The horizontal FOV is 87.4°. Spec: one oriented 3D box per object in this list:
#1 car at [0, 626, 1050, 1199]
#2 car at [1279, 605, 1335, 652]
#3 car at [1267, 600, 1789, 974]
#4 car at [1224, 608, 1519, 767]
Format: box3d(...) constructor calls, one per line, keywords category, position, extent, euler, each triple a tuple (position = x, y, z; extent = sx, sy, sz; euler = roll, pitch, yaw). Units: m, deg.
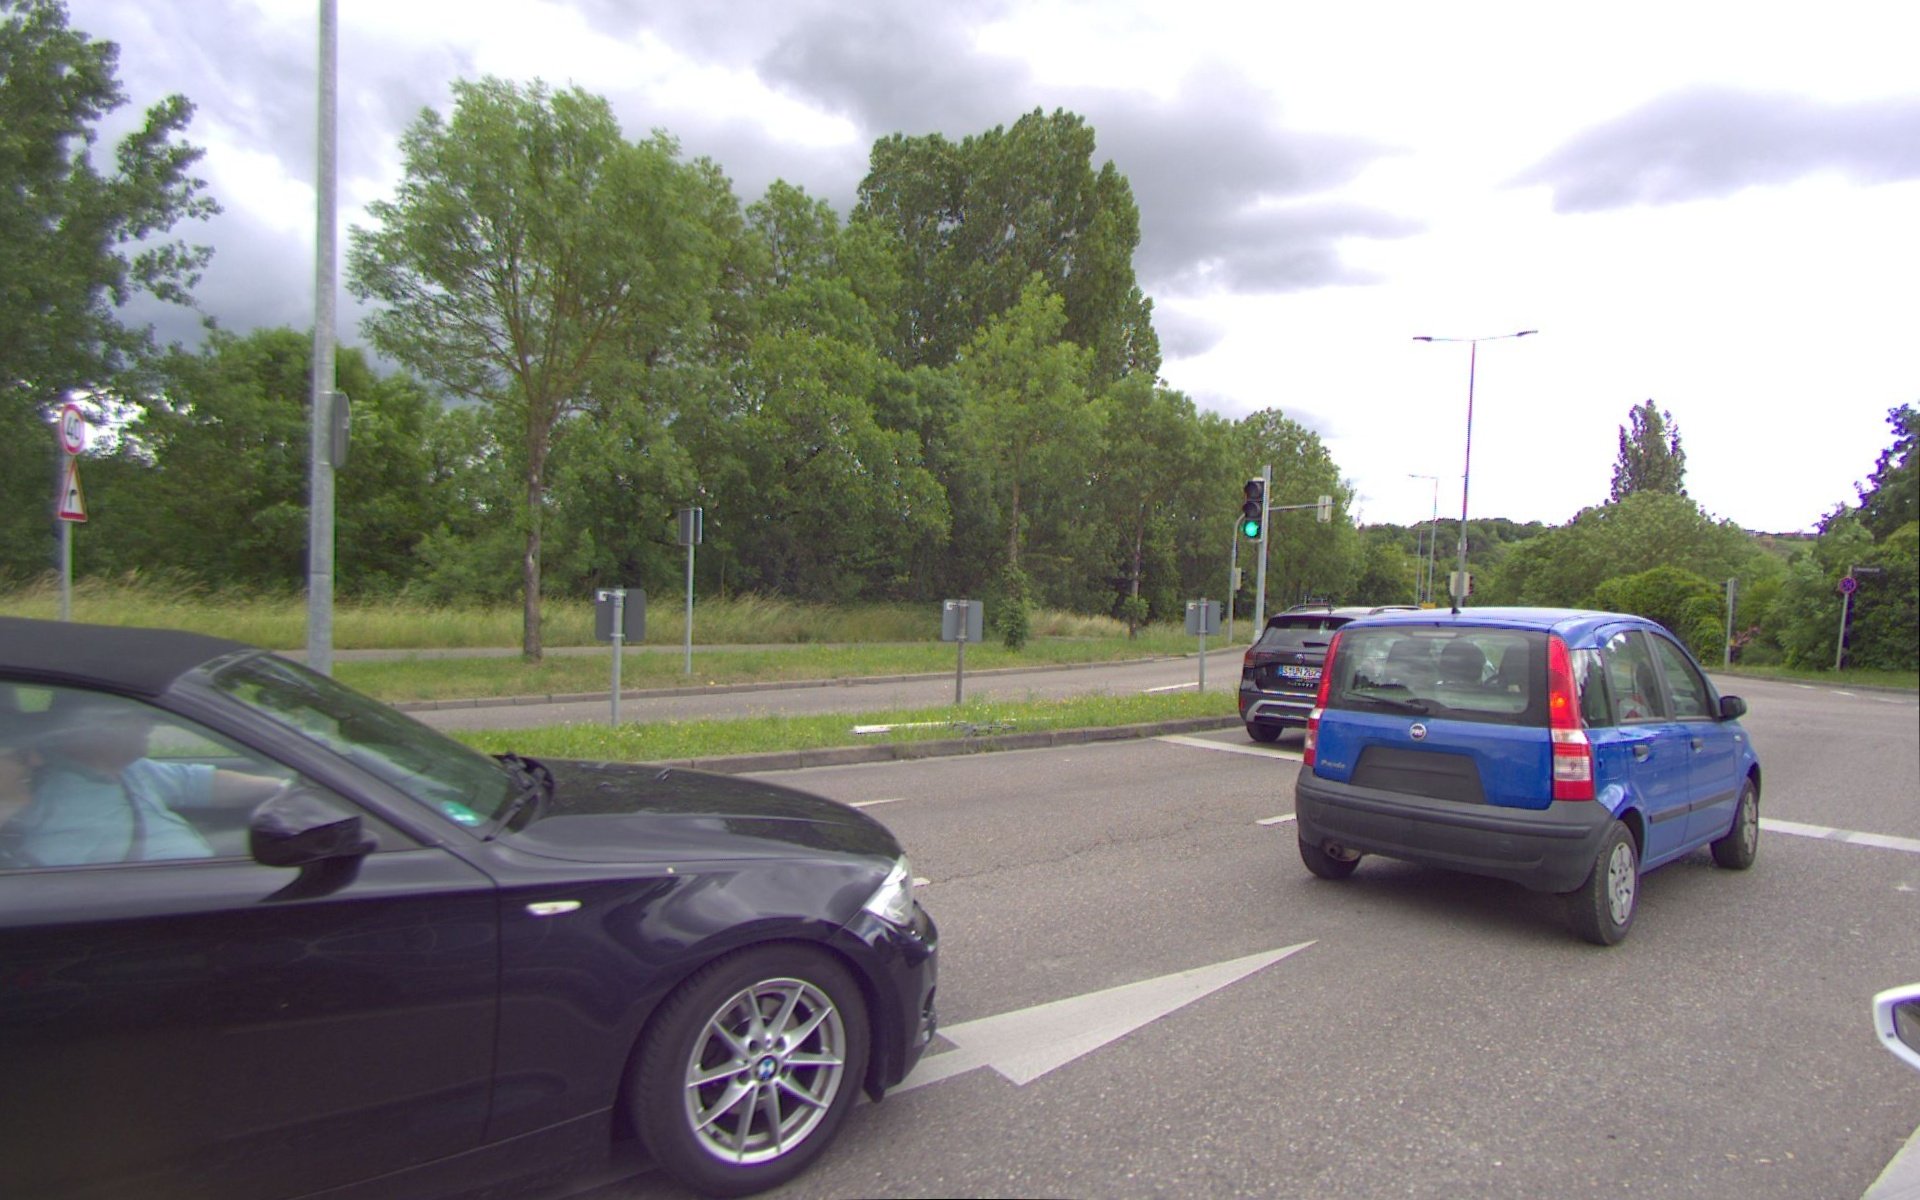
box3d(category="car", position=(-1.881, 0.776, 2.505), extent=(4.034, 1.386, 1.556), euler=(1, 0, -29))
box3d(category="car", position=(16.177, 1.272, 46.759), extent=(2.043, 1.783, 4.319), euler=(4, 4, 23))
box3d(category="car", position=(3.412, 0.804, 5.812), extent=(3.352, 1.527, 1.530), euler=(1, 0, -40))
box3d(category="car", position=(4.846, 0.882, 11.623), extent=(3.739, 1.527, 1.642), euler=(1, 0, -41))
